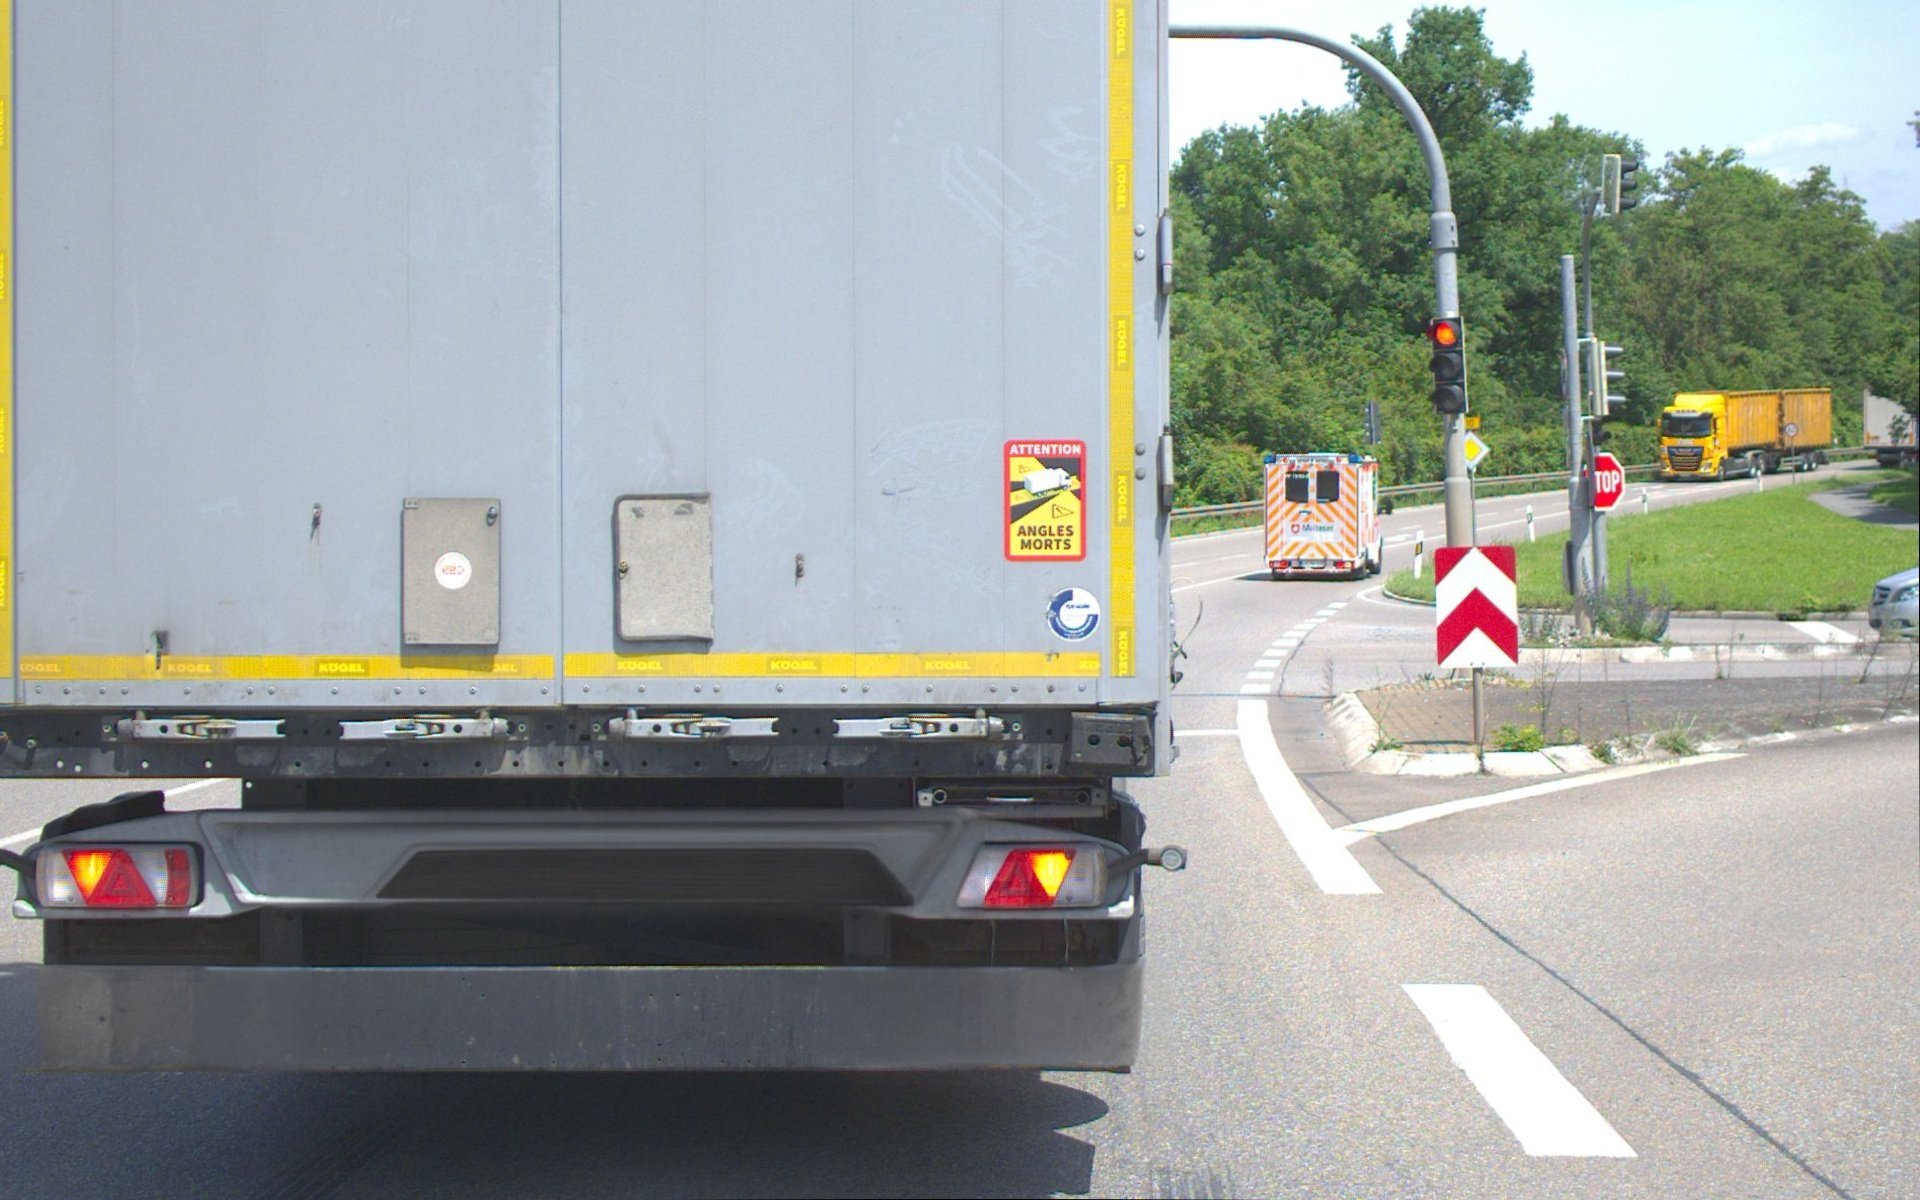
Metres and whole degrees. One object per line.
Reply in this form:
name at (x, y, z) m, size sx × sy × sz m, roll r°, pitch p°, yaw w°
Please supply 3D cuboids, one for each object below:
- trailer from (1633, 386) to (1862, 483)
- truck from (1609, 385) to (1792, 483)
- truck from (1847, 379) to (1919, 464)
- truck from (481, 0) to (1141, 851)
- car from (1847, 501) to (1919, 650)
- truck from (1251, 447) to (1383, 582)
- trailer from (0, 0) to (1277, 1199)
trailer at (38.516, -7.968, 166.964) m, size 5.019 × 4.347 × 20.804 m, roll 1°, pitch 2°, yaw 30°
truck at (34.624, -7.699, 160.258) m, size 5.019 × 4.347 × 11.746 m, roll 1°, pitch 2°, yaw 30°
truck at (47.352, -8.872, 171.673) m, size 3.184 × 4.015 × 11.728 m, roll 0°, pitch 2°, yaw 28°
truck at (-0.615, -0.913, 19.298) m, size 3.038 × 4.020 × 6.629 m, roll 0°, pitch 1°, yaw 1°
car at (12.887, -0.255, 40.529) m, size 4.428 × 1.712 × 2.000 m, roll 0°, pitch -1°, yaw 5°
truck at (7.874, -1.809, 75.258) m, size 2.494 × 2.718 × 6.028 m, roll 0°, pitch -1°, yaw 9°
trailer at (-0.765, -0.804, 13.043) m, size 3.052 × 4.020 × 12.559 m, roll 0°, pitch 1°, yaw 1°
